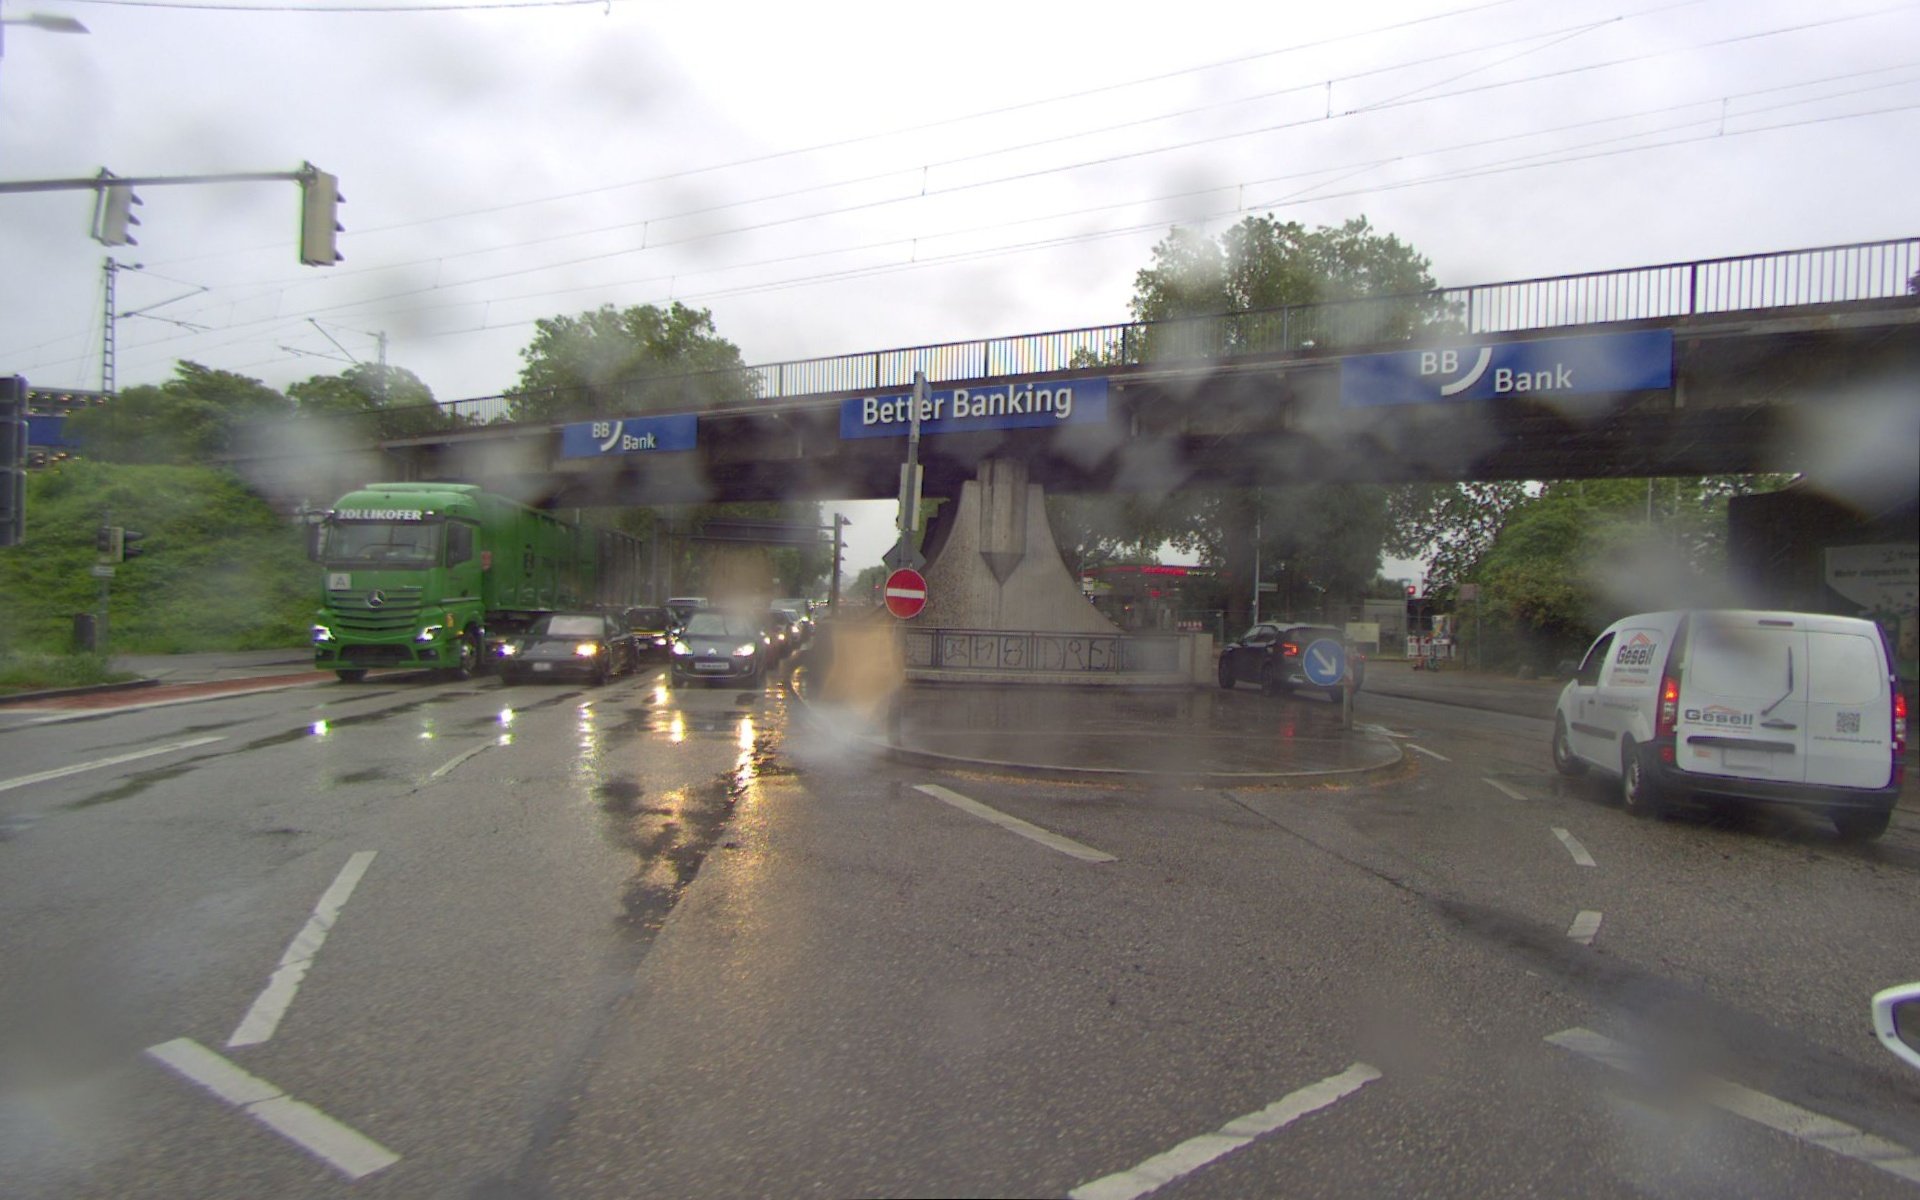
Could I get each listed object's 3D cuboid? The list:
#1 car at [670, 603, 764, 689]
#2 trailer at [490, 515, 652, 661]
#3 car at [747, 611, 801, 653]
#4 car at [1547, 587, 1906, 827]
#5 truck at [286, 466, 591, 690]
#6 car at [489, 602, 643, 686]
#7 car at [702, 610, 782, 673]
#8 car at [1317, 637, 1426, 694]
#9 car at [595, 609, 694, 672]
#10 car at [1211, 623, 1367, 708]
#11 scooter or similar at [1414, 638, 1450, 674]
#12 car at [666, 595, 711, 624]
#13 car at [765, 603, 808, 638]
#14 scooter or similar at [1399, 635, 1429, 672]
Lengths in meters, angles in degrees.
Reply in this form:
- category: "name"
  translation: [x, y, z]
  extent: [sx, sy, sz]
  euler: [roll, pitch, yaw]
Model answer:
- category: "car"
  translation: [-4.911, 0.892, 20.708]
  extent: [1.630, 1.566, 3.992]
  euler: [2, -1, -10]
- category: "trailer"
  translation: [-12.297, -0.301, 32.681]
  extent: [2.639, 4.039, 8.512]
  euler: [2, 0, -6]
- category: "car"
  translation: [-7.460, 1.257, 40.602]
  extent: [1.964, 1.595, 3.994]
  euler: [2, -1, -9]
- category: "car"
  translation: [7.022, 0.883, 9.717]
  extent: [1.727, 1.801, 4.000]
  euler: [0, -2, 22]
- category: "truck"
  translation: [-11.321, -0.330, 23.328]
  extent: [2.637, 4.001, 10.185]
  euler: [2, -1, -6]
- category: "car"
  translation: [-8.035, 0.853, 20.958]
  extent: [1.713, 1.505, 4.681]
  euler: [2, -1, -5]
- category: "car"
  translation: [-5.625, 1.040, 26.290]
  extent: [1.788, 1.472, 3.994]
  euler: [2, -1, -9]
- category: "car"
  translation: [10.840, 1.701, 26.695]
  extent: [1.652, 1.300, 3.259]
  euler: [1, -1, 3]
- category: "car"
  translation: [-8.737, 1.078, 28.134]
  extent: [1.963, 1.595, 3.994]
  euler: [2, -1, -8]
- category: "car"
  translation: [7.183, 1.379, 22.391]
  extent: [1.887, 1.630, 3.998]
  euler: [1, -1, -4]
- category: "scooter or similar"
  translation: [16.531, 1.934, 35.179]
  extent: [0.757, 1.194, 1.548]
  euler: [-1, -1, 11]
- category: "car"
  translation: [-15.250, 0.556, 56.562]
  extent: [1.794, 1.490, 3.996]
  euler: [2, -1, -6]
- category: "car"
  translation: [-7.946, 0.929, 46.224]
  extent: [1.795, 1.490, 3.994]
  euler: [2, -1, -9]
- category: "scooter or similar"
  translation: [16.670, 1.947, 36.860]
  extent: [0.698, 1.327, 1.554]
  euler: [-4, -4, 33]
